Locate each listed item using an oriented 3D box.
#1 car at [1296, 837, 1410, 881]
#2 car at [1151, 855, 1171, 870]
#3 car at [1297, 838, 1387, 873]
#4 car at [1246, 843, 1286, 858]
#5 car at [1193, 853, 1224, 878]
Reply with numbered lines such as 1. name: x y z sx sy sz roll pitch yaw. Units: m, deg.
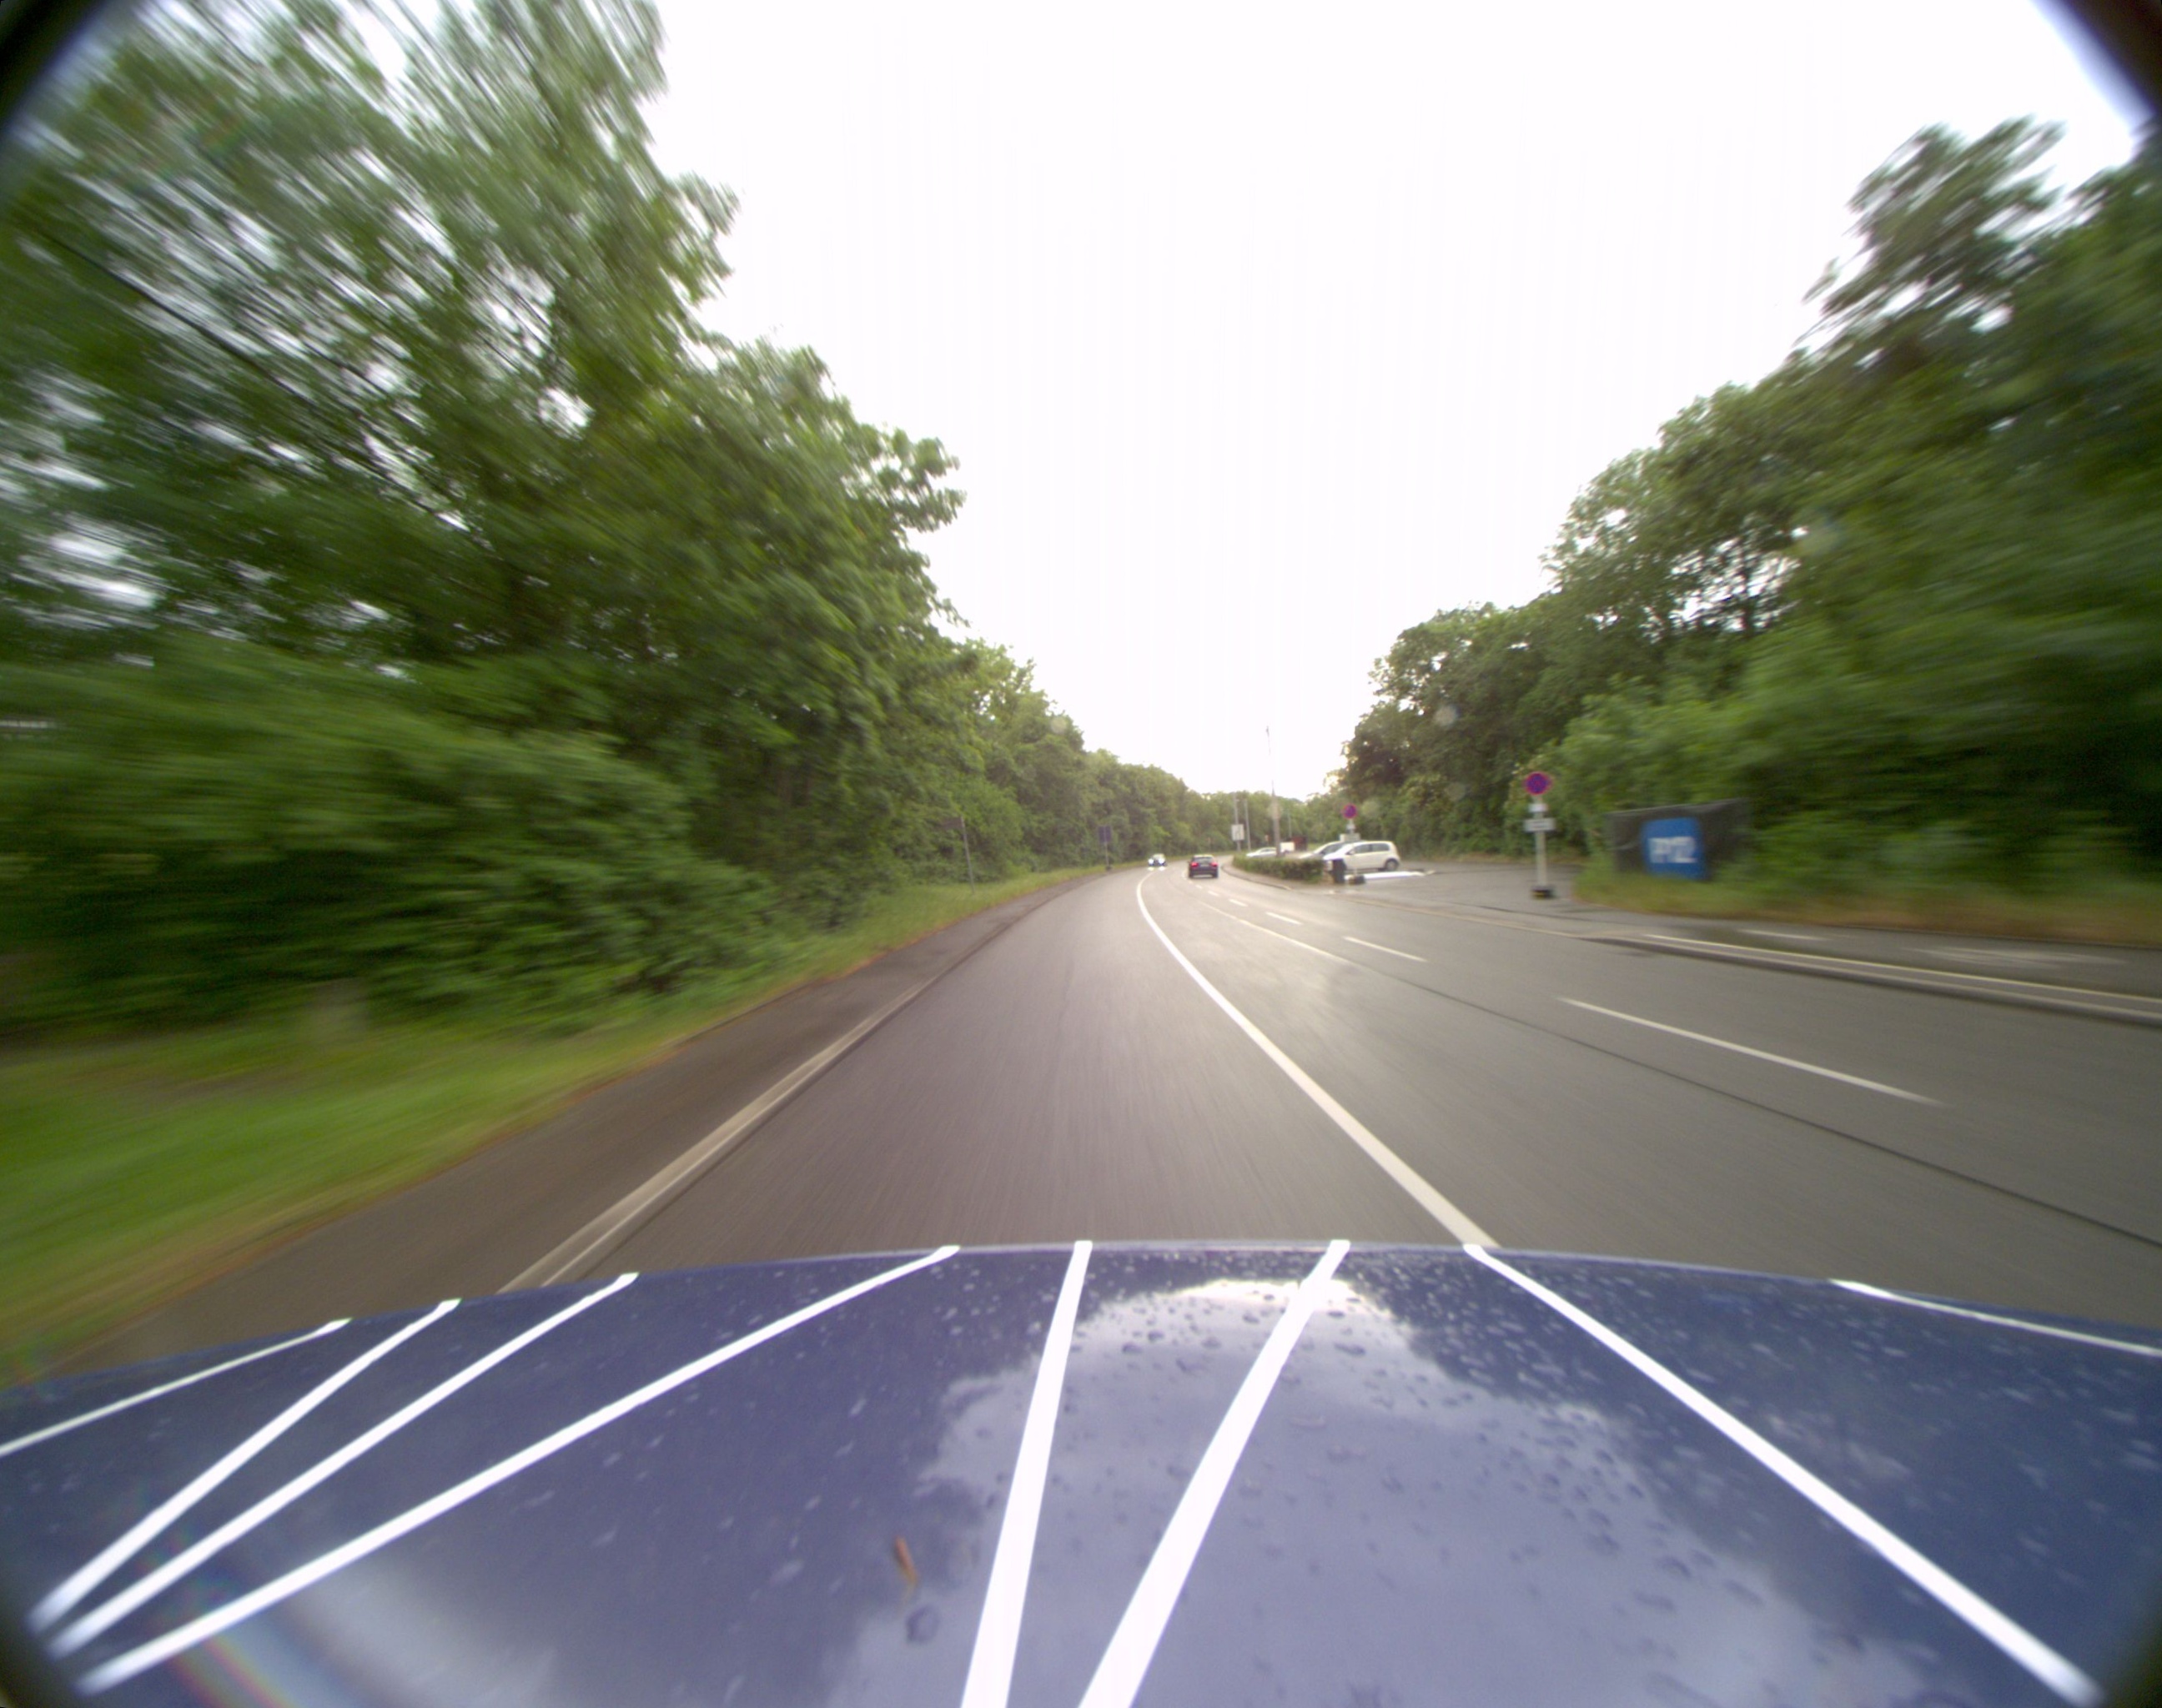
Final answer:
1. car: 12.955 0.211 36.454 4.752 1.707 1.895 -4 1 5
2. car: 9.228 0.978 87.459 1.997 1.577 4.002 -2 1 9
3. car: 14.361 0.081 42.001 4.379 1.592 1.756 -4 1 6
4. car: 21.399 -0.386 87.946 4.206 1.475 1.908 -2 0 5
5. car: 8.174 0.693 48.485 1.856 1.464 3.916 -2 0 11
